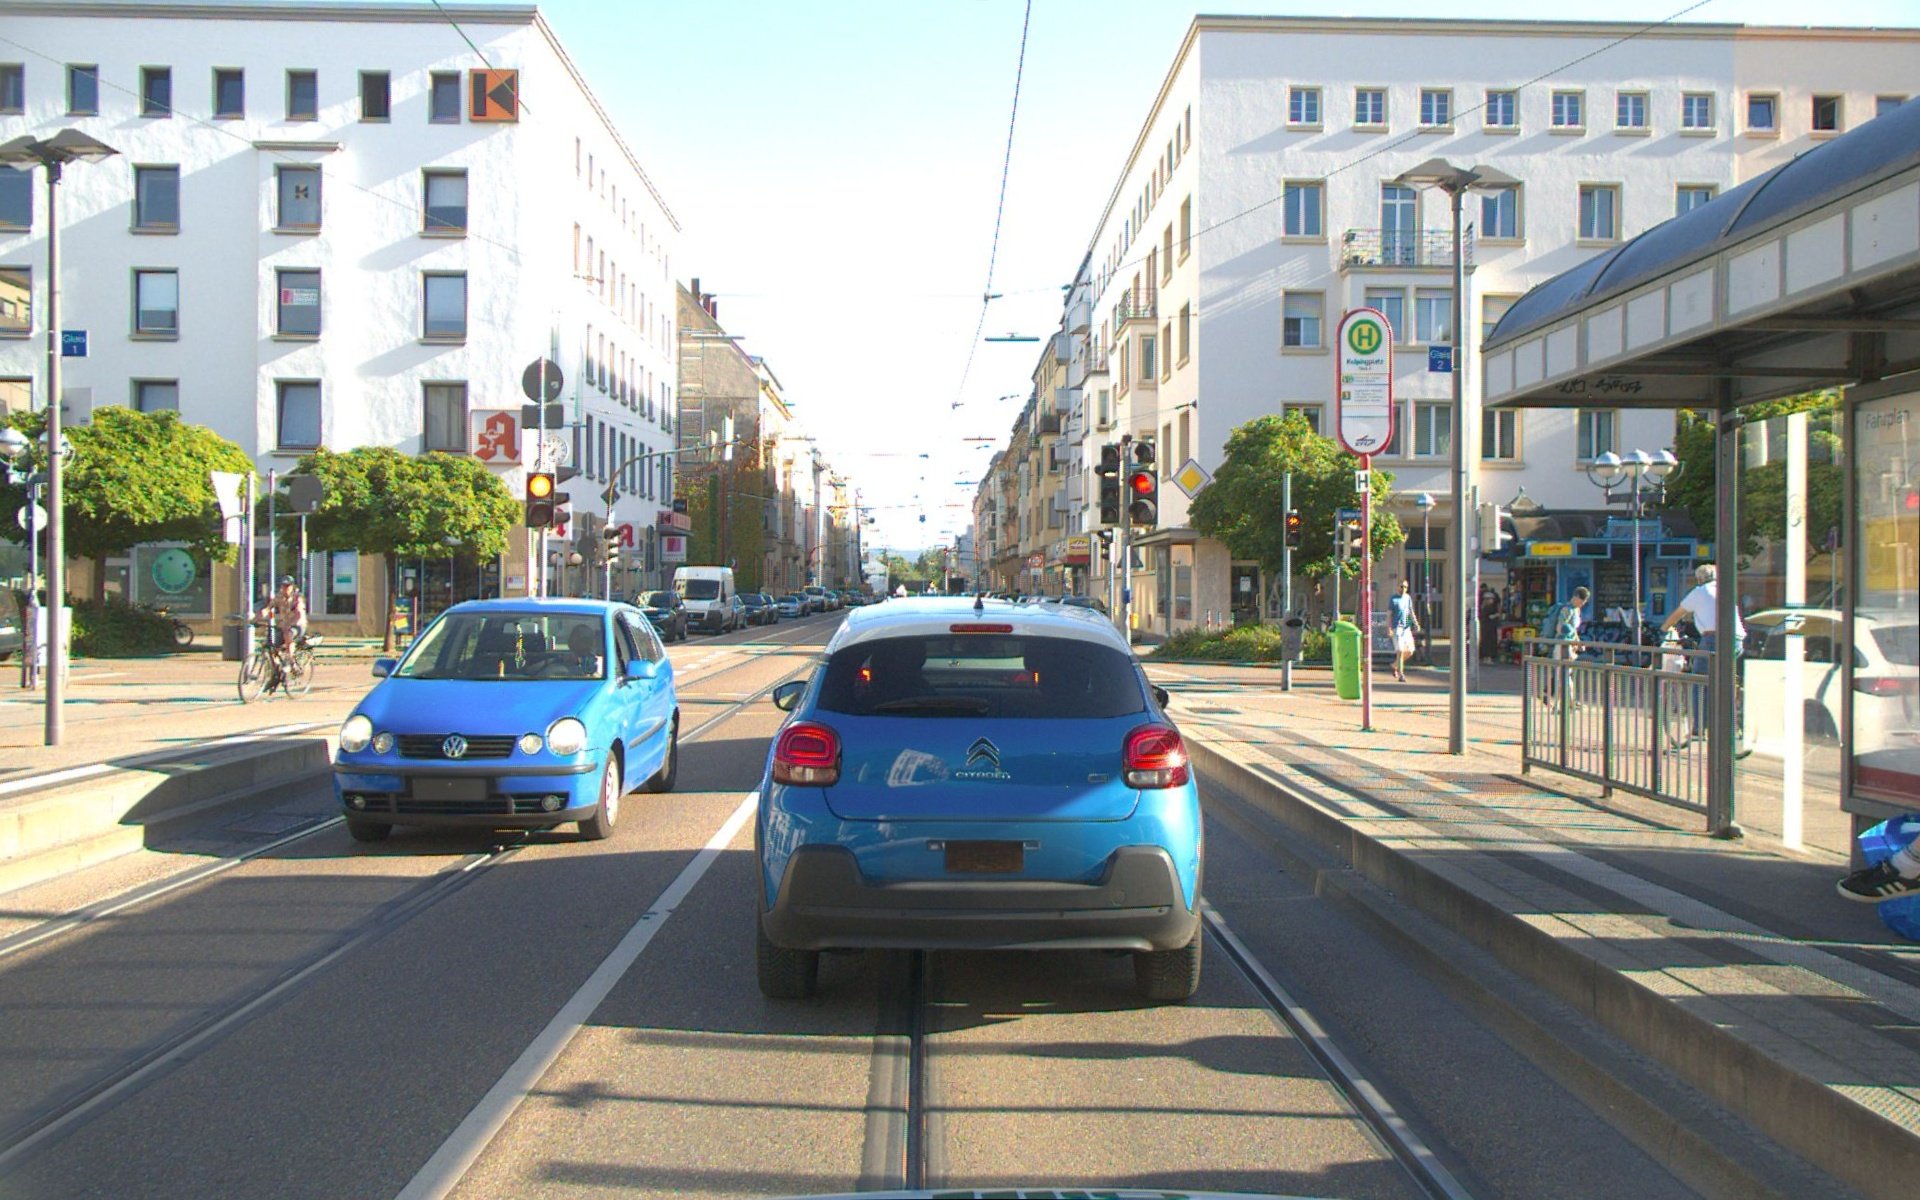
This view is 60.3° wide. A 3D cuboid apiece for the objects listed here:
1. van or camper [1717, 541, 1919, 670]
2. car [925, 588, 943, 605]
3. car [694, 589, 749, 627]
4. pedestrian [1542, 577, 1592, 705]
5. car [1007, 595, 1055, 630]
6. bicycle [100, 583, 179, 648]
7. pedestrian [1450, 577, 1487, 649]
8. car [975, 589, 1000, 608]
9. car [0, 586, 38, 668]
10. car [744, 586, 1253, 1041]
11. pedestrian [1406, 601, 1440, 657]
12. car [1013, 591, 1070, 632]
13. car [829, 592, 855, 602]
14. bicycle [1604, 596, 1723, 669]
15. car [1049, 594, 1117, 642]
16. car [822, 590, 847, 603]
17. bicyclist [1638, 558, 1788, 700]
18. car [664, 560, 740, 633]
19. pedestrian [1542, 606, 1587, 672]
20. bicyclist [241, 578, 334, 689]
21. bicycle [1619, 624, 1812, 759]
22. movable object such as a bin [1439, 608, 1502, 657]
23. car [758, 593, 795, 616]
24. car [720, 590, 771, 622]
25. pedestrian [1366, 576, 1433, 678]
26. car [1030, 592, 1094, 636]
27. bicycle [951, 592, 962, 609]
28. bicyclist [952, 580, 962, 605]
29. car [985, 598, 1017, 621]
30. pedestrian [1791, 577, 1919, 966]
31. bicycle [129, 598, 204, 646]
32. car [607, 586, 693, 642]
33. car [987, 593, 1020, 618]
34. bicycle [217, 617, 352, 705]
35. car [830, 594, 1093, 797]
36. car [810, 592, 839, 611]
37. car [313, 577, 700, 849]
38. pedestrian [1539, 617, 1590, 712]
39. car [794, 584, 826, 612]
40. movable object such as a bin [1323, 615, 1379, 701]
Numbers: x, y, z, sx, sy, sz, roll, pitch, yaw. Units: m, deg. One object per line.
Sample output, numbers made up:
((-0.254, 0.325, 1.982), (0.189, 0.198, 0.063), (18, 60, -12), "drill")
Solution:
((20.975, 0.090, 37.003), (6.976, 2.795, 2.371), (0, 1, 0), "van or camper")
((-2.866, -0.361, 179.833), (1.953, 1.803, 3.999), (0, 0, -1), "car")
((-10.003, 0.321, 69.606), (1.850, 1.522, 3.560), (1, 0, -2), "car")
((8.614, 0.575, 23.482), (0.546, 1.775, 0.527), (1, -1, 10), "pedestrian")
((3.145, 0.538, 73.717), (1.953, 1.489, 4.000), (0, 0, 0), "car")
((-21.339, 0.394, 43.081), (0.605, 1.635, 2.621), (0, 0, 3), "bicycle")
((13.196, 0.335, 42.917), (0.768, 1.871, 0.678), (0, 0, 2), "pedestrian")
((2.196, -0.095, 133.582), (1.953, 1.489, 4.000), (0, 0, 0), "car")
((-22.393, 0.567, 35.720), (3.906, 1.736, 1.825), (0, 0, -1), "car")
((0.102, 0.716, 7.496), (1.693, 1.508, 3.826), (1, 0, -1), "car")
((11.071, 0.686, 39.535), (0.725, 1.339, 0.628), (0, 0, 22), "pedestrian")
((3.055, 0.415, 62.833), (1.953, 1.527, 4.000), (0, 0, 0), "car")
((-13.165, -0.352, 184.918), (1.951, 1.176, 4.518), (0, 0, 8), "car")
((15.885, 0.723, 37.374), (2.336, 1.558, 0.726), (2, 0, -2), "bicycle")
((3.881, 0.549, 52.725), (1.870, 1.489, 4.000), (0, 0, 0), "car")
((-11.551, -0.307, 152.303), (1.953, 1.176, 4.000), (0, 0, 0), "car")
((6.959, 0.256, 15.330), (0.931, 1.247, 0.934), (2, 0, 1), "bicyclist")
((-9.734, -0.131, 62.841), (2.043, 2.586, 6.203), (1, 0, -2), "car")
((13.601, 0.871, 37.231), (0.715, 1.434, 0.755), (0, 3, -1), "pedestrian")
((-9.296, 0.454, 22.876), (0.810, 1.481, 0.878), (1, -1, 13), "bicyclist")
((6.930, 0.800, 15.317), (0.704, 1.080, 2.323), (2, 0, 0), "bicycle")
((12.551, 0.781, 40.715), (1.174, 1.173, 1.217), (0, 0, 0), "movable object such as a bin")
((-11.425, 0.276, 103.323), (1.953, 1.348, 3.921), (1, 0, -2), "car")
((-10.108, 0.300, 78.195), (1.953, 1.422, 4.155), (1, 0, -2), "car")
((8.433, 0.521, 31.776), (0.961, 1.910, 1.128), (0, -1, -3), "pedestrian")
((3.491, 0.464, 57.264), (1.953, 1.489, 4.000), (0, 0, 0), "car")
((-0.279, 0.045, 140.499), (0.901, 1.413, 3.131), (0, 0, -1), "bicycle")
((-0.227, -0.627, 140.219), (0.793, 2.049, 0.922), (1, -1, -1), "bicyclist")
((2.722, 0.626, 109.743), (1.953, 1.489, 3.999), (0, 0, -1), "car")
((3.579, 0.575, 5.635), (0.978, 1.246, 0.923), (3, -1, -1), "pedestrian")
((-20.629, 0.553, 43.067), (0.605, 1.211, 2.621), (0, 0, 2), "bicycle")
((-9.792, 0.441, 52.548), (1.953, 1.596, 4.401), (3, 0, -2), "car")
((2.671, 0.315, 102.415), (1.953, 1.489, 4.504), (0, 0, 0), "car")
((-9.304, 0.811, 22.865), (0.712, 1.132, 1.978), (1, 0, 13), "bicycle")
((-0.026, 0.706, 14.802), (1.944, 1.490, 4.814), (1, 0, -1), "car")
((-11.184, 0.133, 136.747), (1.914, 1.579, 3.939), (1, 0, 1), "car")
((-2.875, 0.632, 11.345), (1.633, 1.513, 3.999), (1, 0, -2), "car")
((8.075, 0.850, 22.109), (0.546, 1.247, 0.527), (1, -1, 10), "pedestrian")
((-11.477, -0.129, 126.887), (1.965, 2.049, 4.690), (1, 0, 1), "car")
((3.726, 0.549, 15.779), (0.439, 0.800, 0.489), (0, 0, 2), "movable object such as a bin")
